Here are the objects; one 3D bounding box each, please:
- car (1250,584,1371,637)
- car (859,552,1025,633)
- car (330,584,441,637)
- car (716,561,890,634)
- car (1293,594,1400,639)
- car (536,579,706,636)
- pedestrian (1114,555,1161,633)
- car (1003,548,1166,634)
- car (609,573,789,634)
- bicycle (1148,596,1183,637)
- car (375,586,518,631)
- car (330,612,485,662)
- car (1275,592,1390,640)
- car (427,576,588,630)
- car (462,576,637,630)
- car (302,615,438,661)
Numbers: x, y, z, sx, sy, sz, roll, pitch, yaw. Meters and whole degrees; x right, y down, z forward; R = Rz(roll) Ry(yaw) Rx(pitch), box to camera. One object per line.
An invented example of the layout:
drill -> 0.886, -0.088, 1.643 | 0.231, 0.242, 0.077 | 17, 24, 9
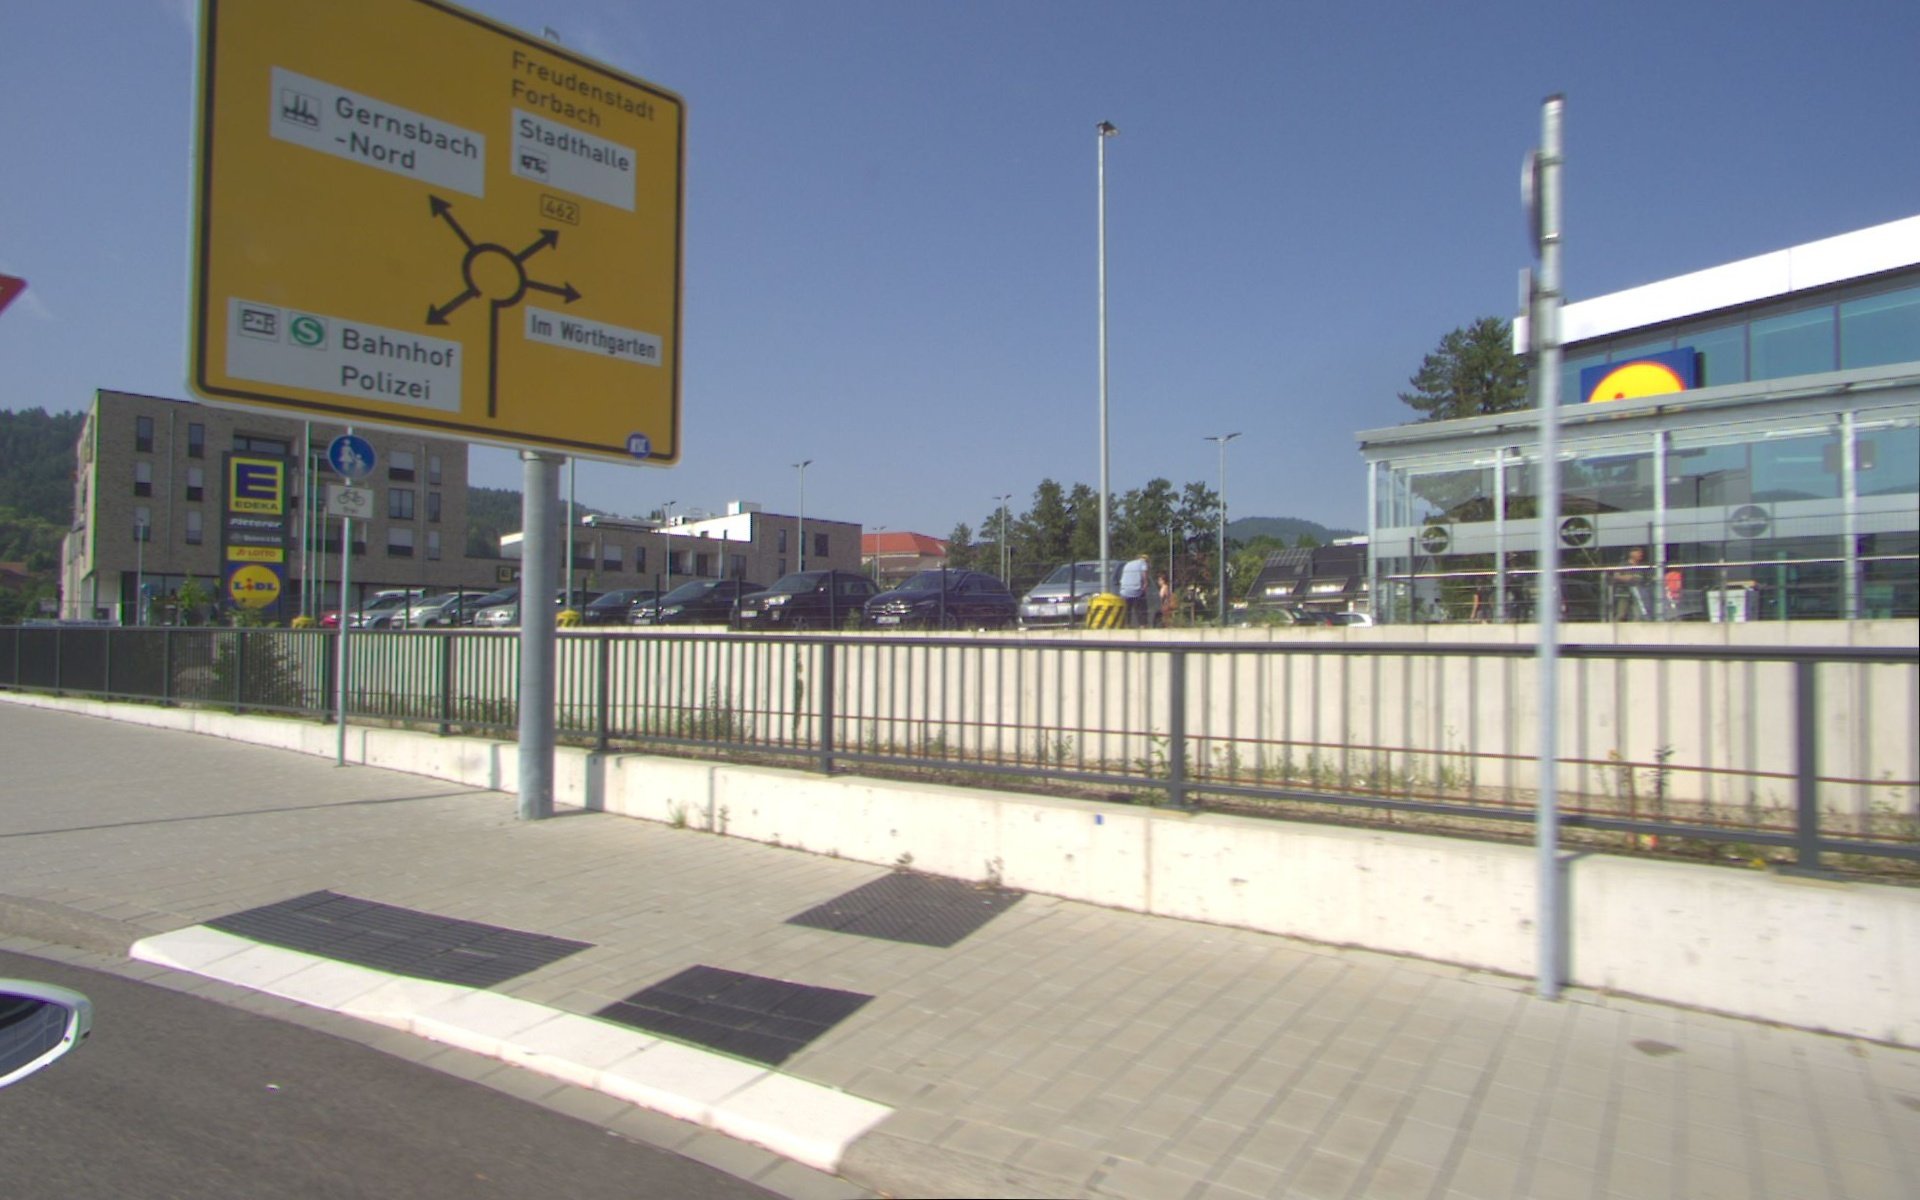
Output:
car -> 12.041, 0.412, 34.470 | 3.658, 1.672, 1.614 | -2, -3, 35
car -> -0.262, -0.067, 20.661 | 1.464, 1.421, 4.056 | 0, -3, 32
car -> -24.921, 0.508, 43.480 | 3.952, 2.162, 1.986 | 1, -3, -37
car -> -3.447, 0.009, 22.709 | 1.700, 1.421, 4.000 | 0, -3, 32
car -> 14.860, 0.675, 38.572 | 3.580, 1.650, 1.593 | -2, -3, 35
car -> -8.571, 0.253, 25.624 | 1.705, 1.261, 3.961 | 0, -3, 32
pedestrian -> 3.153, -0.089, 17.746 | 0.648, 1.328, 0.546 | -2, -2, 34
car -> 2.470, -0.089, 19.053 | 1.656, 1.381, 3.801 | 0, -3, 32
car -> -6.234, 0.139, 24.383 | 1.719, 1.261, 4.208 | 0, -3, 32
bicycle -> 4.685, 0.379, 22.846 | 0.668, 0.911, 0.533 | -1, -2, 26
car -> -15.674, 0.309, 30.718 | 1.690, 1.214, 3.551 | -1, -3, 32
car -> -17.769, 1.224, 32.370 | 1.693, 1.505, 4.048 | -1, -3, 35
car -> 13.572, 0.627, 36.517 | 3.658, 1.604, 1.614 | -2, -3, 35
car -> -13.047, 0.150, 29.125 | 1.636, 1.359, 4.031 | 0, -3, 32
car -> -11.098, 0.138, 27.341 | 1.640, 1.261, 4.273 | 0, -3, 32
car -> -19.842, 1.310, 33.794 | 1.686, 1.448, 3.551 | 0, -3, 32
